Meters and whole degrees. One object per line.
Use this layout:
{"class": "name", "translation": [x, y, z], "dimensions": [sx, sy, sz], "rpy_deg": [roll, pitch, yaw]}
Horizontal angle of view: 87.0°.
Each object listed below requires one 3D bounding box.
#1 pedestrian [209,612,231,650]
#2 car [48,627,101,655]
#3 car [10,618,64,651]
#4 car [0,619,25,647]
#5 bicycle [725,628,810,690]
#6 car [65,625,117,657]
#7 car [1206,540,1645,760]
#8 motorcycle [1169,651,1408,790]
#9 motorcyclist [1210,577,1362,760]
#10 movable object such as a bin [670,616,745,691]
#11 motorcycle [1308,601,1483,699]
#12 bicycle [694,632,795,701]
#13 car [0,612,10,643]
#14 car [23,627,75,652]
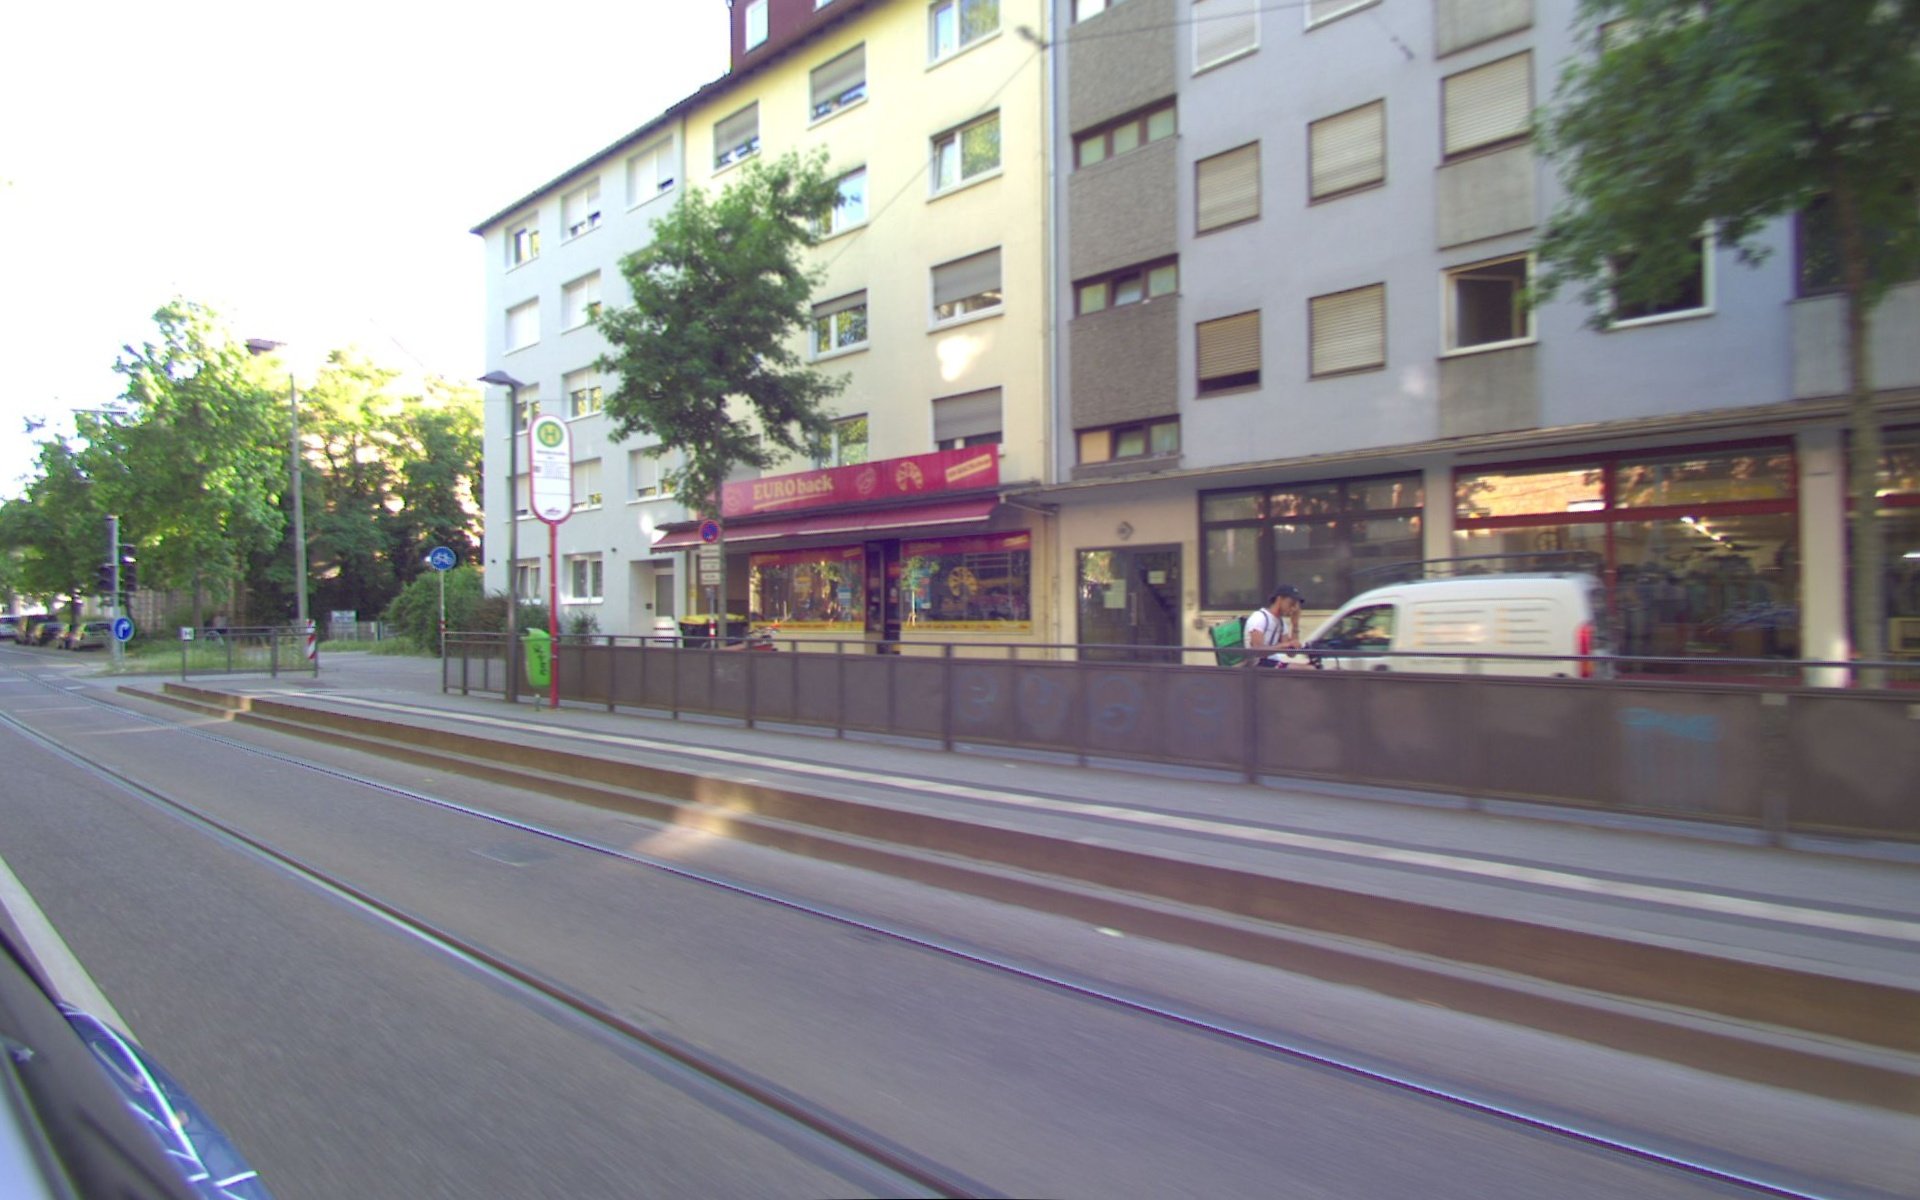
{"class": "pedestrian", "translation": [-36.855, 1.555, 50.404], "dimensions": [0.728, 1.861, 0.734], "rpy_deg": [-2, 0, 39]}
{"class": "car", "translation": [-48.931, 2.245, 55.900], "dimensions": [3.946, 1.456, 1.641], "rpy_deg": [-2, -1, 41]}
{"class": "car", "translation": [-60.159, 2.233, 65.925], "dimensions": [4.830, 2.029, 1.973], "rpy_deg": [-1, -2, 40]}
{"class": "car", "translation": [-71.456, 2.475, 75.637], "dimensions": [4.986, 2.004, 1.824], "rpy_deg": [-2, -2, 42]}
{"class": "bicycle", "translation": [-3.721, 1.113, 19.489], "dimensions": [1.798, 1.116, 0.494], "rpy_deg": [-1, 2, 39]}
{"class": "car", "translation": [-45.186, 2.115, 52.604], "dimensions": [4.537, 1.562, 1.680], "rpy_deg": [-2, -1, 44]}
{"class": "car", "translation": [4.886, 0.492, 10.941], "dimensions": [3.998, 1.955, 1.670], "rpy_deg": [-1, -2, 41]}
{"class": "motorcycle", "translation": [2.761, 0.975, 8.661], "dimensions": [1.877, 1.040, 0.589], "rpy_deg": [-2, -4, 42]}
{"class": "motorcyclist", "translation": [2.782, 0.565, 8.681], "dimensions": [1.103, 1.460, 0.589], "rpy_deg": [-2, -4, 42]}
{"class": "movable object such as a bin", "translation": [-5.014, 1.042, 20.134], "dimensions": [0.782, 1.358, 1.159], "rpy_deg": [-1, 2, 37]}
{"class": "motorcycle", "translation": [6.223, 0.694, 14.556], "dimensions": [2.221, 1.321, 0.592], "rpy_deg": [-1, -2, 41]}
{"class": "bicycle", "translation": [-3.874, 1.177, 18.279], "dimensions": [0.885, 1.083, 1.518], "rpy_deg": [-2, 1, 40]}
{"class": "car", "translation": [-82.752, 2.352, 85.964], "dimensions": [5.338, 2.527, 2.281], "rpy_deg": [-2, -2, 40]}
{"class": "car", "translation": [-56.837, 2.446, 63.119], "dimensions": [4.266, 1.469, 1.834], "rpy_deg": [-1, -2, 40]}
